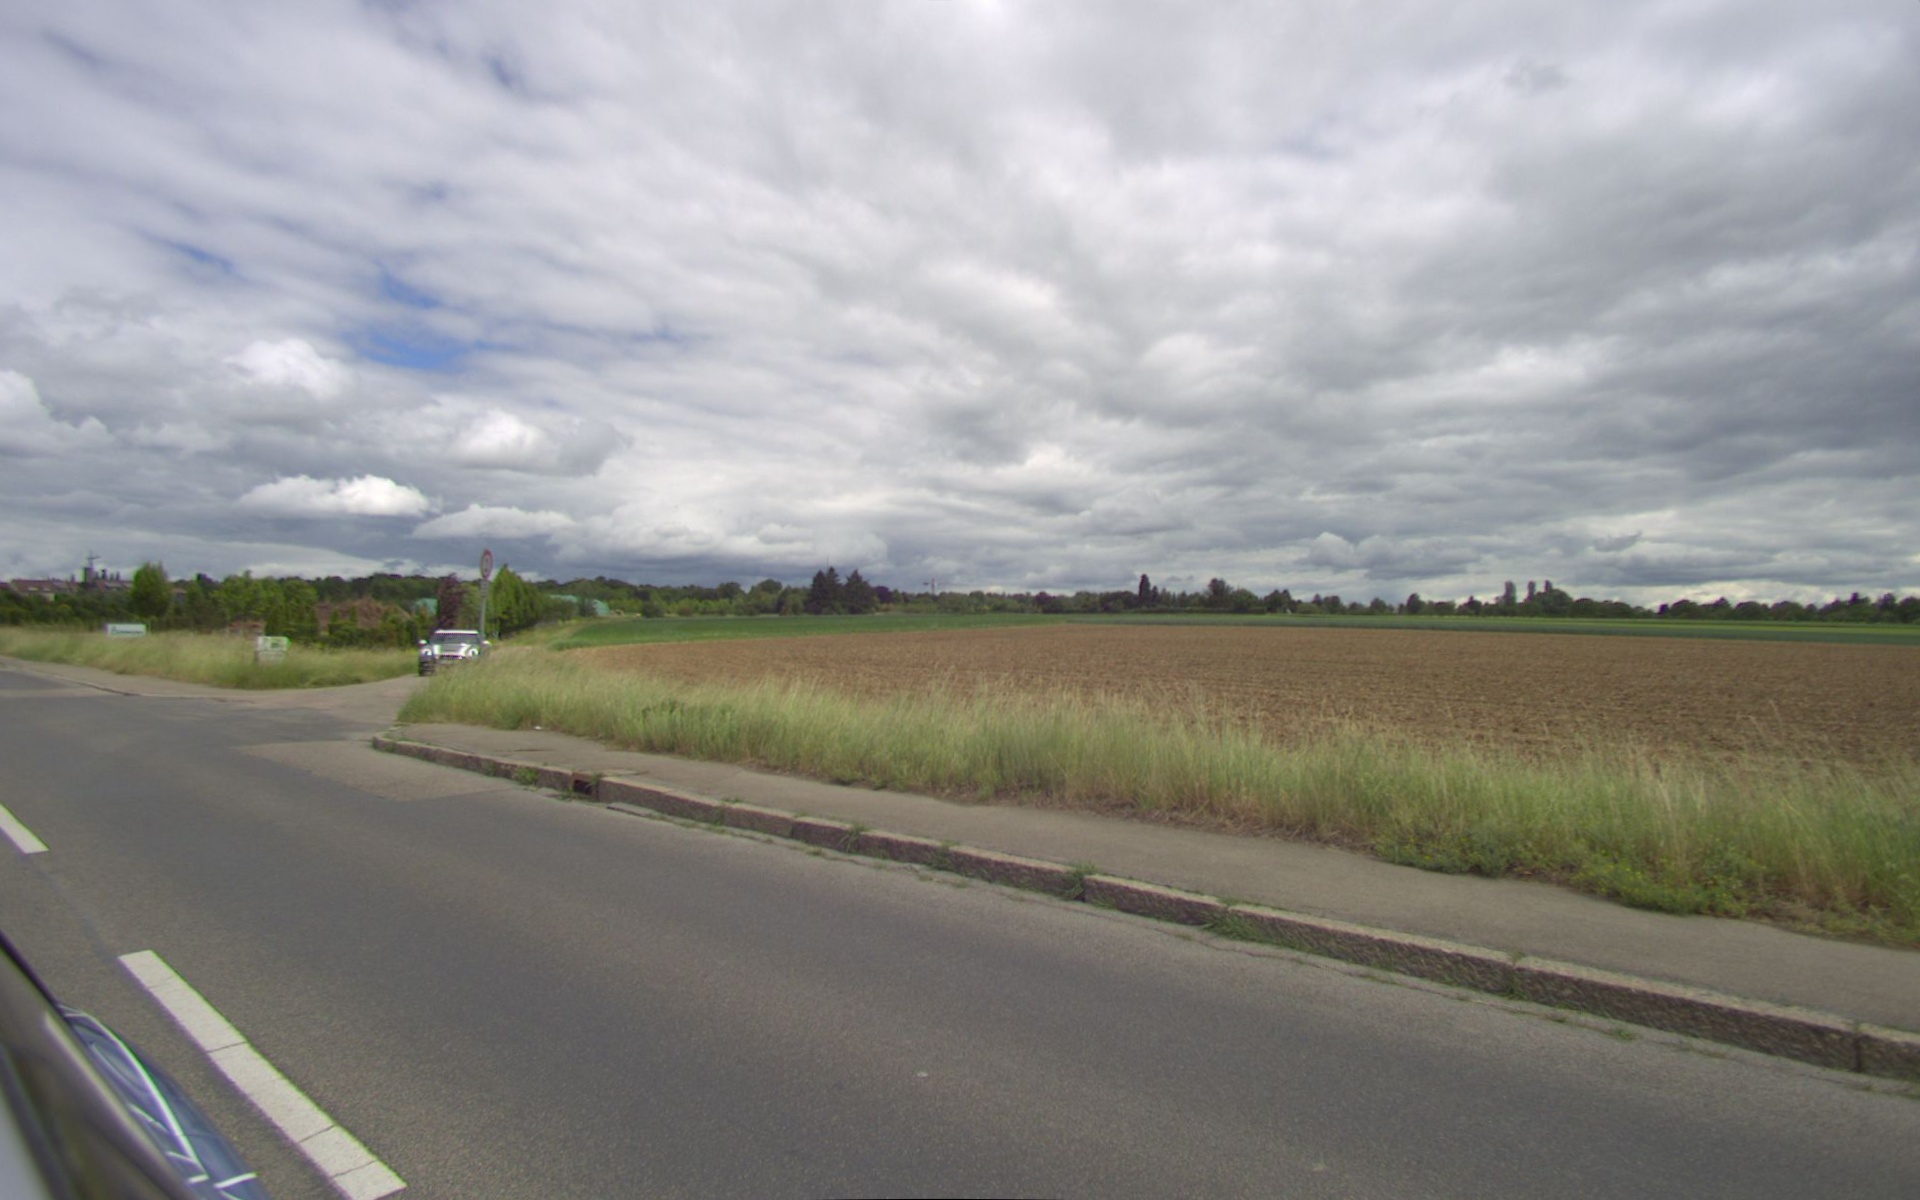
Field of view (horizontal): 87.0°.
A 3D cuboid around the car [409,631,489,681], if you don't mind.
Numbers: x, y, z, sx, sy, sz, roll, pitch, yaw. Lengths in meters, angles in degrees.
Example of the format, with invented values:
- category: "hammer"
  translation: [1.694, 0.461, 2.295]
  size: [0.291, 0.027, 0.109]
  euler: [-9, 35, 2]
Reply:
- category: "car"
  translation: [-16.142, 1.730, 32.148]
  size: [1.941, 1.465, 4.013]
  euler: [1, -2, -22]
